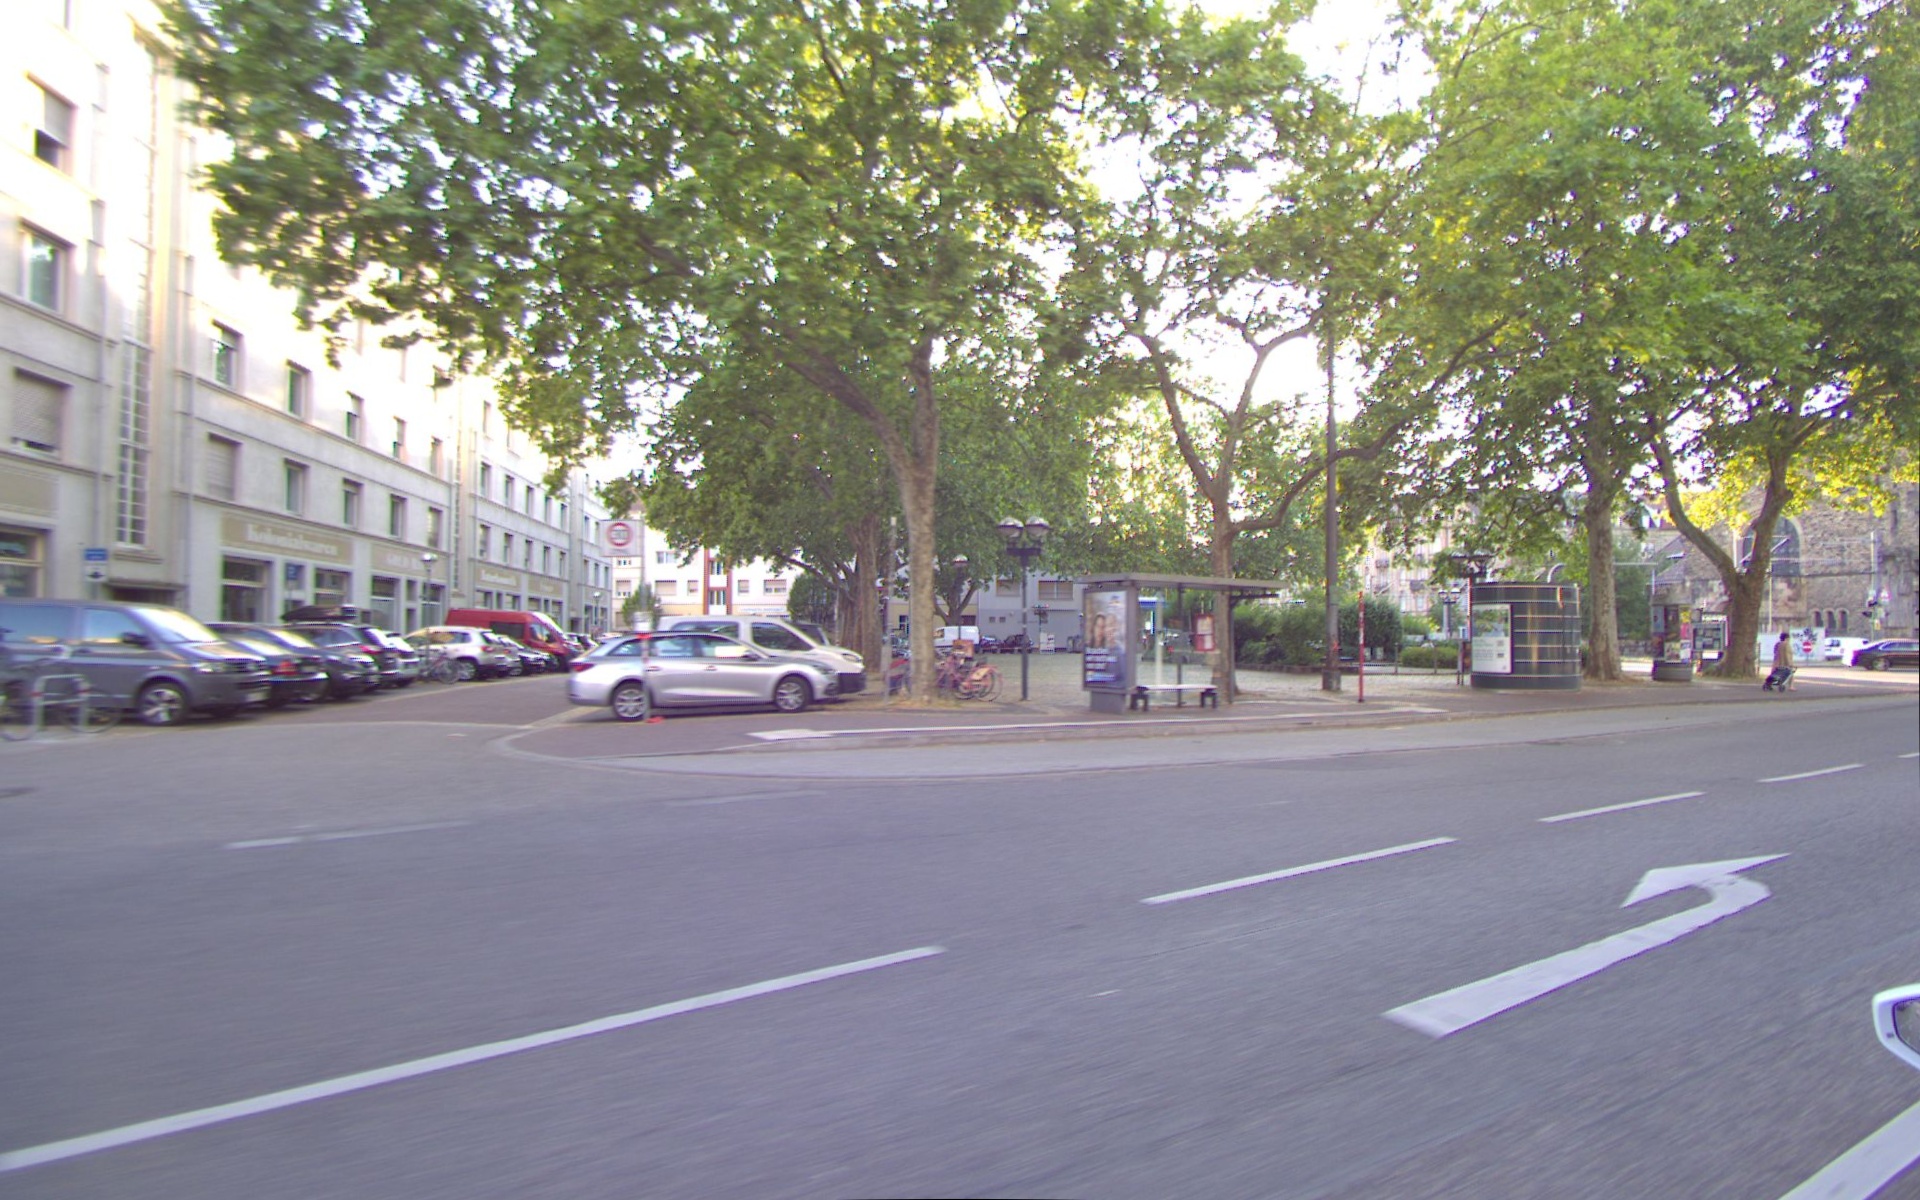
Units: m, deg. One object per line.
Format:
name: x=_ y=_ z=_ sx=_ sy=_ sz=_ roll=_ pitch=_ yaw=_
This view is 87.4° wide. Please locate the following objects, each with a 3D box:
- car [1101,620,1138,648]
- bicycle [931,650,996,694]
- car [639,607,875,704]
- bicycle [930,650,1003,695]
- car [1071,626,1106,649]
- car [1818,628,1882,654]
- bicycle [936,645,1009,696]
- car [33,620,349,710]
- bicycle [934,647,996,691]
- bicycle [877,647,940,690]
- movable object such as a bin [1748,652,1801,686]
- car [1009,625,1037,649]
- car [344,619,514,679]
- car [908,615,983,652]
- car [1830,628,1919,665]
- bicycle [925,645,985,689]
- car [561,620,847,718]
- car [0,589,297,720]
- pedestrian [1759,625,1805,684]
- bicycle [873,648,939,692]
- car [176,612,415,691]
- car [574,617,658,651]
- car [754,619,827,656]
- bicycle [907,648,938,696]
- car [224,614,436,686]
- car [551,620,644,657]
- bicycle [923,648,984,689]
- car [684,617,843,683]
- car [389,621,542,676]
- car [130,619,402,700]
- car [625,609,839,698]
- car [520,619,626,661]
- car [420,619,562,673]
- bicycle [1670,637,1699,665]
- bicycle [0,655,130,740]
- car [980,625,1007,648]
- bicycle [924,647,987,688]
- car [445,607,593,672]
car: x=13.225 y=2.819 z=83.524 sx=1.895 sy=2.289 sz=4.335 roll=1 pitch=-2 yaw=-7
bicycle: x=0.076 y=1.643 z=22.967 sx=1.475 sy=0.981 sz=0.395 roll=0 pitch=-1 yaw=-4
car: x=-4.087 y=1.098 z=20.655 sx=4.547 sy=1.824 sz=1.822 roll=0 pitch=-1 yaw=-10
bicycle: x=0.146 y=1.619 z=22.573 sx=1.611 sy=0.981 sz=0.408 roll=0 pitch=-1 yaw=-4
car: x=10.653 y=3.095 z=83.751 sx=1.895 sy=1.866 sz=4.335 roll=1 pitch=-2 yaw=-7
car: x=66.375 y=3.073 z=74.952 sx=3.429 sy=1.935 sz=1.712 roll=0 pitch=-1 yaw=-5
bicycle: x=0.273 y=1.538 z=21.895 sx=1.563 sy=1.088 sz=0.402 roll=0 pitch=-1 yaw=-4
car: x=-14.320 y=1.206 z=18.974 sx=4.260 sy=1.558 sz=1.928 roll=1 pitch=-2 yaw=-10
bicycle: x=0.123 y=1.601 z=23.416 sx=1.489 sy=0.981 sz=0.391 roll=1 pitch=-2 yaw=-35
bicycle: x=-1.209 y=1.604 z=23.592 sx=1.475 sy=0.981 sz=0.395 roll=0 pitch=-1 yaw=-4
movable object such as a bin: x=22.720 y=1.927 z=28.033 sx=0.967 sy=0.902 sz=0.738 roll=1 pitch=-1 yaw=-17
car: x=5.146 y=3.058 z=82.861 sx=1.893 sy=1.866 sz=4.338 roll=1 pitch=-2 yaw=-2
car: x=-16.502 y=1.532 z=31.432 sx=4.260 sy=1.773 sz=1.928 roll=1 pitch=-2 yaw=-10
car: x=-0.993 y=2.246 z=66.805 sx=4.759 sy=2.322 sz=1.997 roll=1 pitch=-2 yaw=-10
car: x=44.012 y=2.177 z=47.370 sx=4.192 sy=1.672 sz=1.995 roll=-1 pitch=-2 yaw=32
bicycle: x=-0.120 y=1.677 z=25.227 sx=1.481 sy=1.063 sz=0.393 roll=1 pitch=-1 yaw=-19
car: x=-4.356 y=1.129 z=17.398 sx=4.554 sy=1.501 sz=1.819 roll=0 pitch=-1 yaw=-16
car: x=-14.075 y=0.881 z=16.577 sx=4.758 sy=1.999 sz=1.997 roll=1 pitch=-2 yaw=-9
pedestrian: x=23.270 y=1.526 z=28.452 sx=0.675 sy=1.650 sz=0.738 roll=0 pitch=-1 yaw=-17
bicycle: x=-1.234 y=1.592 z=22.968 sx=1.475 sy=0.981 sz=0.395 roll=0 pitch=-1 yaw=-4
car: x=-15.698 y=1.224 z=23.970 sx=4.260 sy=1.773 sz=1.928 roll=1 pitch=-2 yaw=-10
car: x=-19.708 y=1.947 z=57.752 sx=4.260 sy=1.866 sz=1.928 roll=1 pitch=-2 yaw=-10
car: x=-11.352 y=2.522 z=67.525 sx=4.758 sy=2.370 sz=1.997 roll=1 pitch=-2 yaw=-9
bicycle: x=-0.798 y=1.543 z=21.771 sx=0.387 sy=0.981 sz=1.505 roll=0 pitch=-2 yaw=9
car: x=-16.471 y=1.309 z=26.485 sx=4.260 sy=1.773 sz=1.928 roll=1 pitch=-2 yaw=-10
car: x=-19.037 y=2.018 z=52.956 sx=4.260 sy=1.866 sz=1.928 roll=1 pitch=-2 yaw=-10
bicycle: x=-0.160 y=1.670 z=24.505 sx=1.475 sy=0.981 sz=0.395 roll=0 pitch=-1 yaw=-4
car: x=-5.848 y=1.481 z=30.359 sx=4.546 sy=1.865 sz=2.082 roll=0 pitch=-1 yaw=-9
car: x=-16.799 y=1.658 z=34.340 sx=4.260 sy=1.773 sz=1.928 roll=1 pitch=-2 yaw=-10
car: x=-14.647 y=1.256 z=21.471 sx=4.260 sy=1.616 sz=2.046 roll=1 pitch=-2 yaw=-10
car: x=-5.097 y=1.177 z=22.948 sx=4.547 sy=1.865 sz=2.082 roll=0 pitch=-1 yaw=-10
car: x=-17.994 y=1.879 z=46.873 sx=4.260 sy=1.866 sz=1.928 roll=1 pitch=-2 yaw=-10
car: x=-16.962 y=1.677 z=36.549 sx=4.260 sy=1.866 sz=1.928 roll=1 pitch=-2 yaw=-10
bicycle: x=28.745 y=2.017 z=39.876 sx=0.535 sy=1.057 sz=1.920 roll=-1 pitch=-2 yaw=24
bicycle: x=-12.423 y=1.303 z=13.832 sx=0.470 sy=1.056 sz=1.824 roll=0 pitch=-2 yaw=-1
car: x=2.689 y=2.967 z=82.196 sx=1.893 sy=1.866 sz=4.338 roll=1 pitch=-2 yaw=-2
bicycle: x=-0.108 y=1.609 z=24.012 sx=1.475 sy=0.981 sz=0.395 roll=0 pitch=-1 yaw=-4
car: x=-18.124 y=1.619 z=41.544 sx=5.189 sy=2.536 sz=1.997 roll=1 pitch=-2 yaw=-9
